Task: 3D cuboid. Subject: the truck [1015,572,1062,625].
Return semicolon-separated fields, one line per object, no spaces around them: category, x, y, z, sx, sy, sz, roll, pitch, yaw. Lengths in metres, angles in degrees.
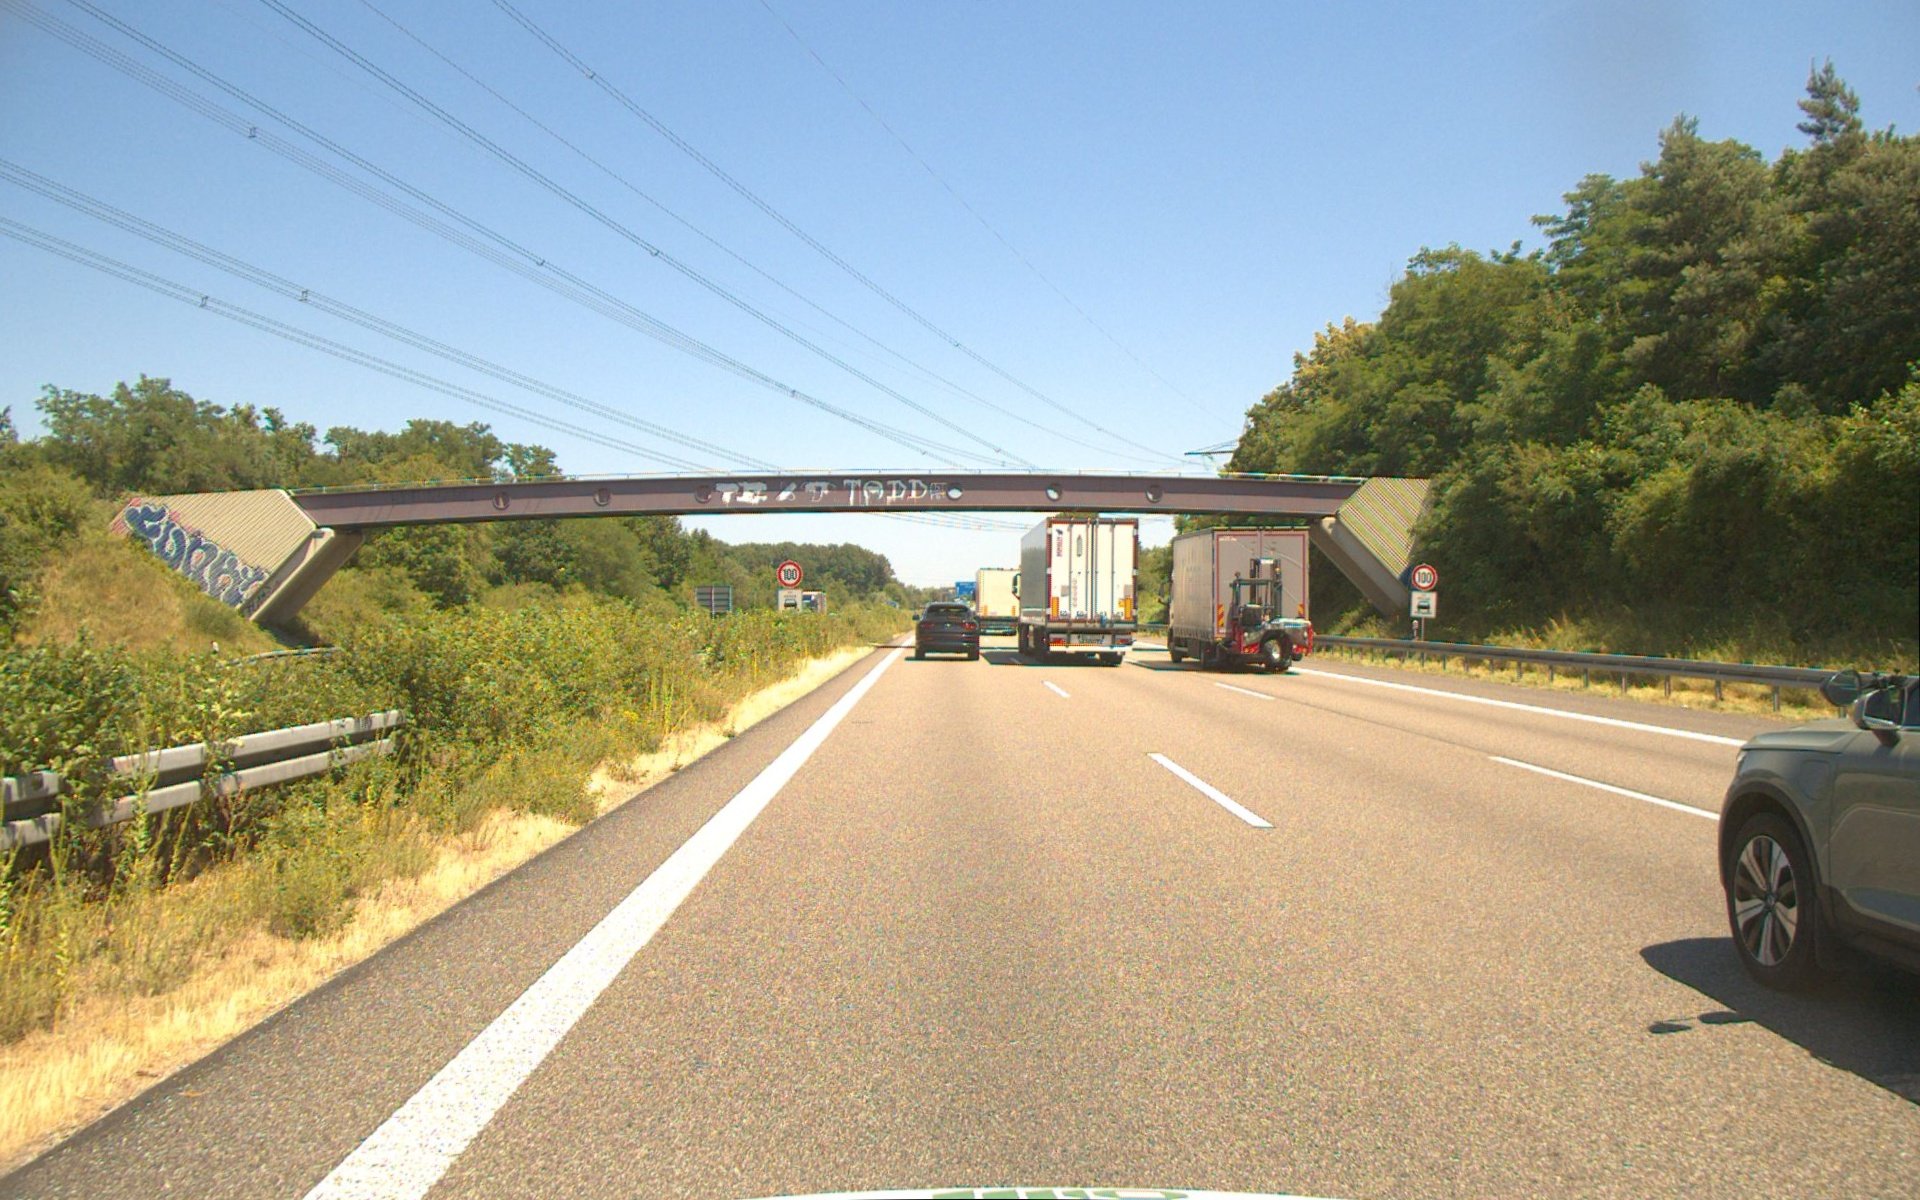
truck;7.117;-0.081;151.842;3.441;4.571;13.247;1;0;-1

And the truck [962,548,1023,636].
truck;1.989;-0.460;105.137;3.440;5.257;10.255;1;0;-1

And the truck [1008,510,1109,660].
truck;3.421;-0.470;59.237;3.024;4.970;6.595;1;-1;-1

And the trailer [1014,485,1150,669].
trailer;3.558;-0.560;51.451;3.024;4.970;12.254;1;-1;-1

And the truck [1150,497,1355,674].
truck;7.949;-0.302;46.940;3.498;4.319;11.648;1;-1;-1

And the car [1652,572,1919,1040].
car;4.290;0.721;5.575;1.841;1.640;4.700;0;0;-2

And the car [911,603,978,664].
car;-0.523;0.994;50.854;1.953;1.803;3.998;0;0;-2

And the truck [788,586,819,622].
truck;-18.718;0.564;198.631;2.702;4.194;10.214;-1;-1;0
